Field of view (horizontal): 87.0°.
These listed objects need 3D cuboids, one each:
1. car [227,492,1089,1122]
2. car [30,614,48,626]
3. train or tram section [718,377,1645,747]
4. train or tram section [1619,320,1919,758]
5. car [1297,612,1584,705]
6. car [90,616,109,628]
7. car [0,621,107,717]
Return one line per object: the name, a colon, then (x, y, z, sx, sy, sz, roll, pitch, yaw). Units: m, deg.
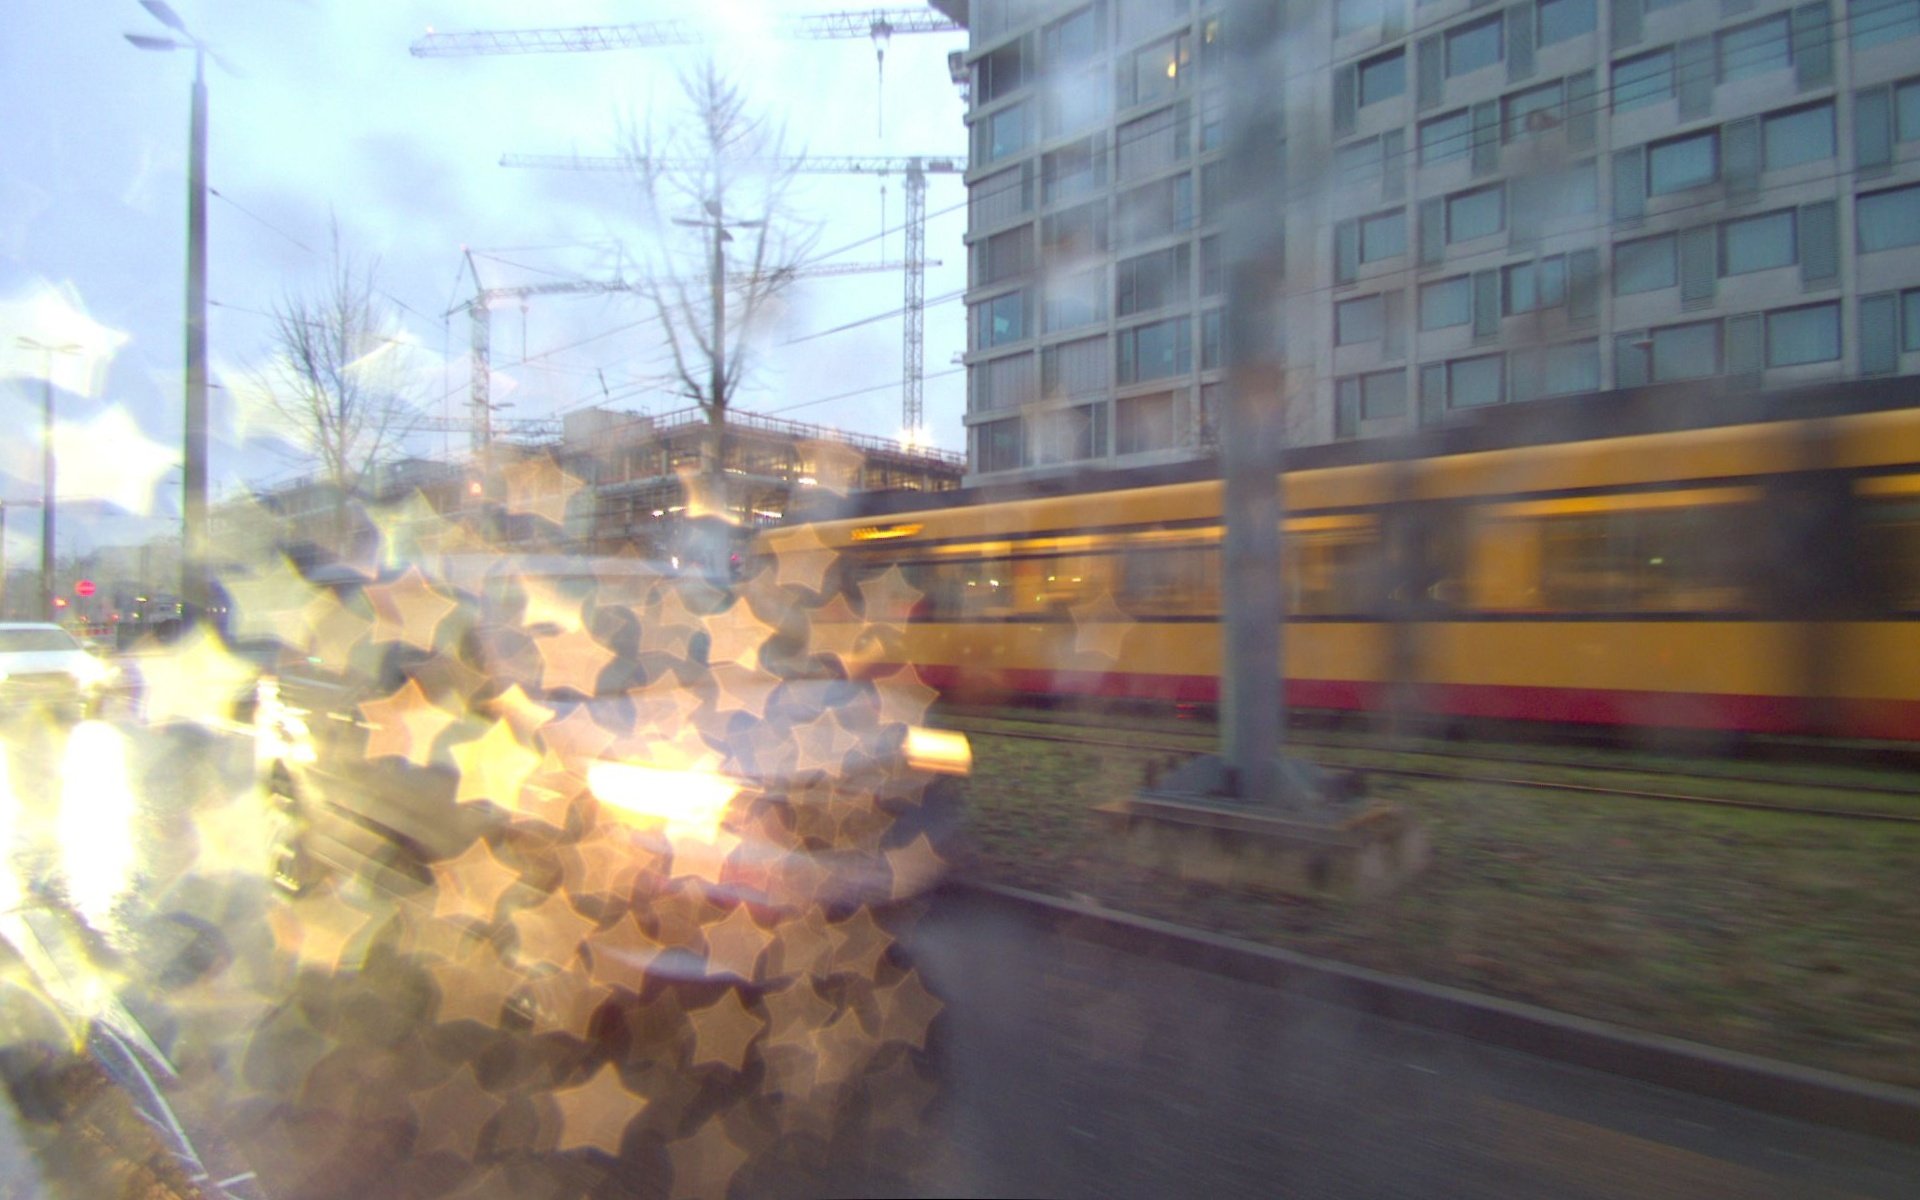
car: (-1.784, 0.593, 4.938, 4.532, 1.749, 1.776, -1, 0, 39)
car: (-163.528, 3.609, 179.740, 3.999, 2.029, 1.972, -1, -2, 42)
train or tram section: (1.686, -0.212, 15.510, 14.314, 3.513, 2.925, -1, -2, 42)
train or tram section: (12.451, -0.568, 5.777, 14.262, 3.513, 2.925, -1, -2, 42)
car: (8.503, 0.998, 18.219, 4.426, 1.508, 1.982, -1, -1, 26)
car: (-140.305, 3.584, 164.960, 4.002, 1.837, 1.971, -2, -2, 45)
car: (-16.162, 1.097, 17.197, 4.611, 1.416, 1.827, -1, 0, 40)
